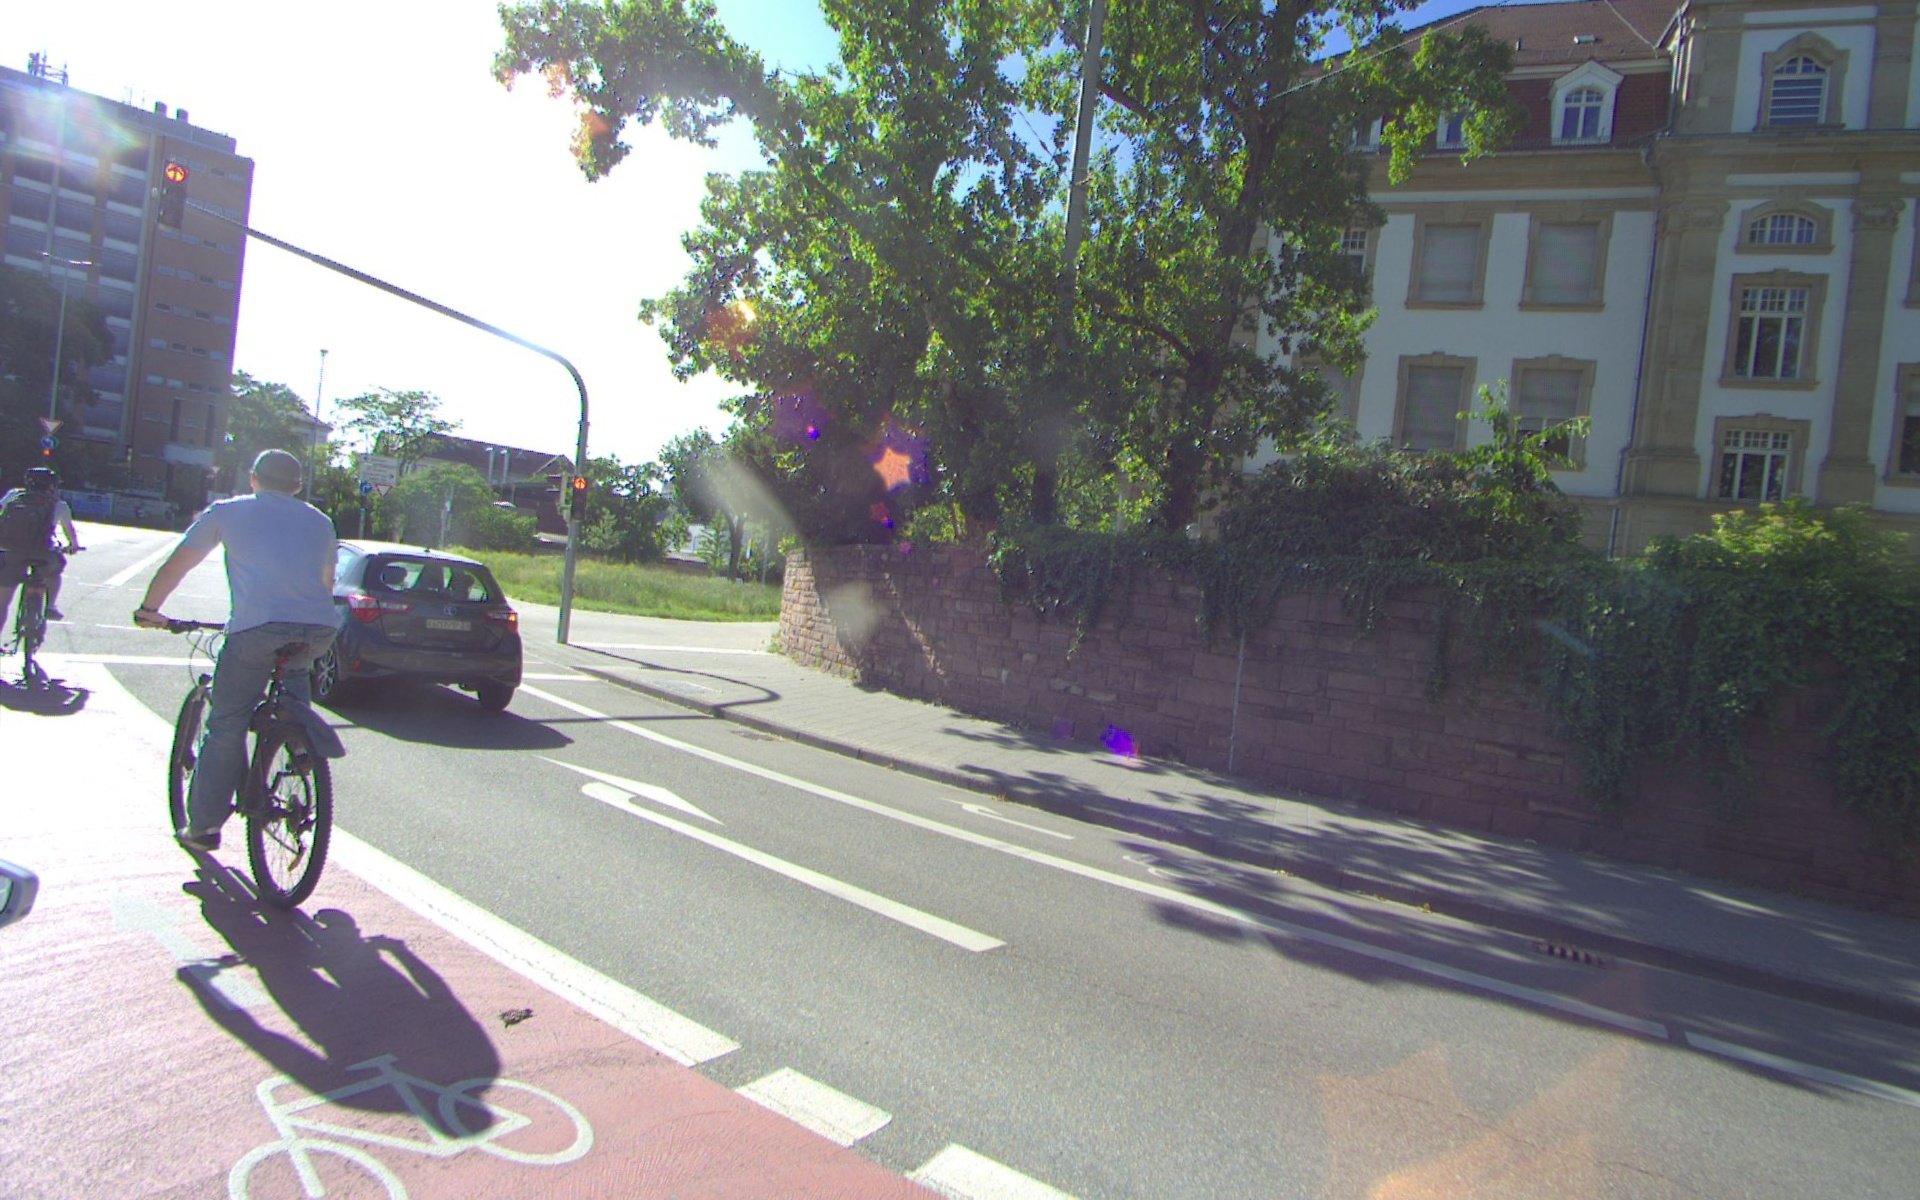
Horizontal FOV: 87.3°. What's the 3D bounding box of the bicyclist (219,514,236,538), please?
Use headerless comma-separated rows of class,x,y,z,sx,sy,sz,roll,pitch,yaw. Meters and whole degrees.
bicyclist,-57.026,-5.787,78.312,0.852,1.712,0.877,7,-1,-33

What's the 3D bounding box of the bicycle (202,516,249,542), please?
bicycle,-57.106,-5.498,78.277,2.784,1.559,0.877,8,-2,-34

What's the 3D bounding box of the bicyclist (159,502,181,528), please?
bicyclist,-61.136,-6.574,77.849,1.153,1.818,0.874,7,-1,-42

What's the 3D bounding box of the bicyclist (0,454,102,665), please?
bicyclist,-7.874,-0.351,8.517,0.720,1.645,1.042,8,-1,-44

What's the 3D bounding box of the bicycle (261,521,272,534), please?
bicycle,-64.402,-6.742,93.428,0.603,1.106,1.660,6,1,-27

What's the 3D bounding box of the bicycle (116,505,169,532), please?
bicycle,-60.343,-6.019,74.286,2.784,1.559,0.877,8,-2,-34

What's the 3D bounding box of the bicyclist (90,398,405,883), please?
bicyclist,-3.069,0.147,4.322,1.000,1.797,0.748,7,0,42

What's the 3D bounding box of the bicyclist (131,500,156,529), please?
bicyclist,-60.293,-6.339,74.284,1.199,1.919,0.877,7,-1,-33

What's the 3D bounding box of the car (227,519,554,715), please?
car,-5.989,0.126,10.415,3.608,1.560,1.754,6,-1,41

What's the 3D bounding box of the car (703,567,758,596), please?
car,-20.532,-1.660,90.040,4.310,2.037,1.988,7,-2,-27

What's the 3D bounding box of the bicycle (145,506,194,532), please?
bicycle,-61.178,-6.261,77.847,2.793,1.559,0.874,8,-2,-43

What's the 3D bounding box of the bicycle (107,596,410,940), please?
bicycle,-3.125,0.624,4.400,1.805,1.090,0.610,6,0,42

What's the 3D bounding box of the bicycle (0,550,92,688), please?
bicycle,-7.976,0.118,8.561,0.721,0.971,1.860,8,-1,-44

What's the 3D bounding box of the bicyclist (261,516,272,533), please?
bicyclist,-64.326,-7.015,93.327,0.613,1.462,0.813,6,1,-28
